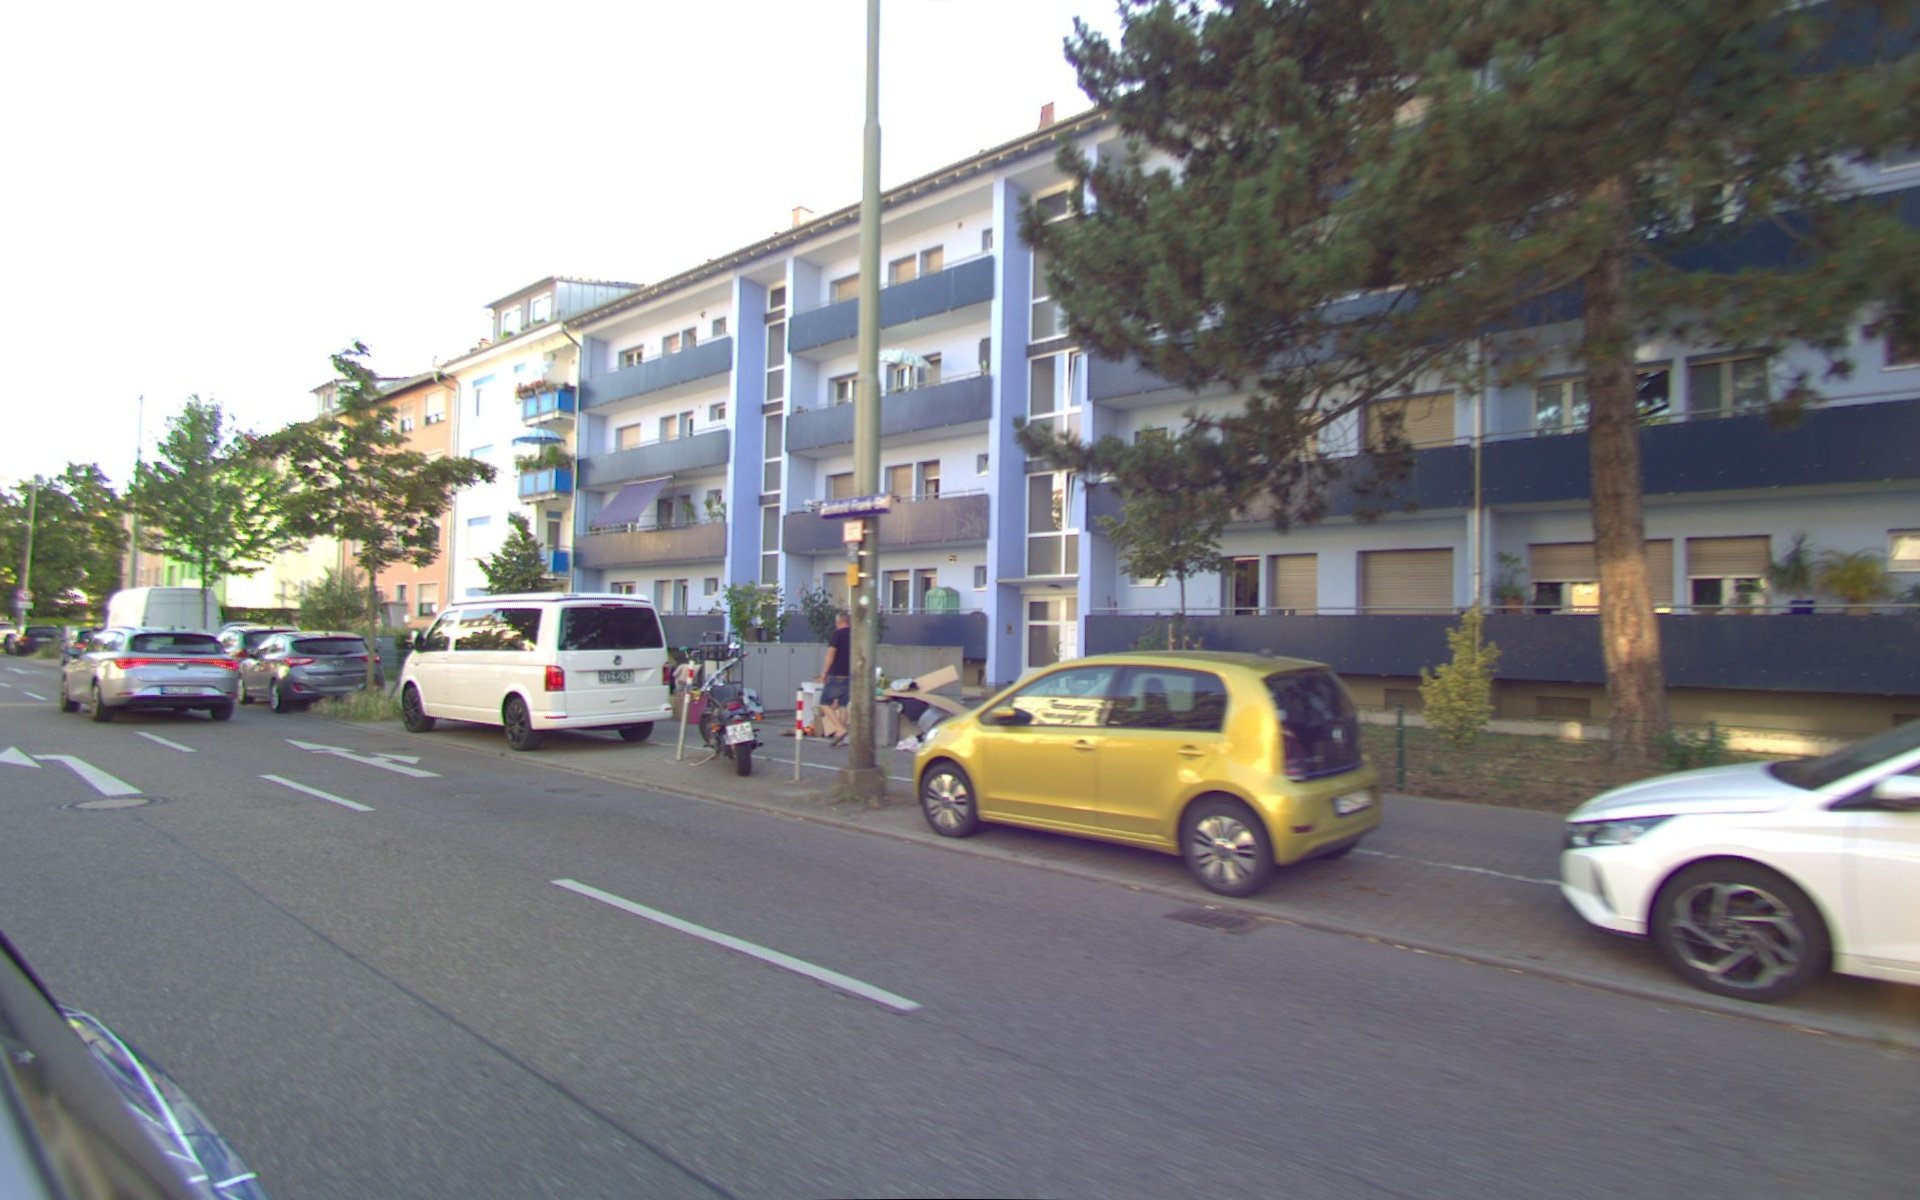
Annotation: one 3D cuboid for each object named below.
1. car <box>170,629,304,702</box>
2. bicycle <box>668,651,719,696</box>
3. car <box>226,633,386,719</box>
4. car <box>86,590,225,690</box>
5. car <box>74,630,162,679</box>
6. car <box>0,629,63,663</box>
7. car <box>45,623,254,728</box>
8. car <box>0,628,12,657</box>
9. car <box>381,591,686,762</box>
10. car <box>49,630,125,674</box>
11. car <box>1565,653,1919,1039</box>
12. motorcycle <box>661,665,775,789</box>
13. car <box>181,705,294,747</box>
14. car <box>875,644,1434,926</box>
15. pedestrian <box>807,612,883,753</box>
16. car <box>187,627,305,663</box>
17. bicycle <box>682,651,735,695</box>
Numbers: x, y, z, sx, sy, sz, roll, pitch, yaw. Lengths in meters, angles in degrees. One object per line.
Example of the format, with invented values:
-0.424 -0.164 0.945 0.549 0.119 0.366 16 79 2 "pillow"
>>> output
-17.049 1.488 23.773 4.473 1.555 1.654 -1 -4 43 "car"
-6.411 1.757 24.305 1.477 1.022 0.433 -1 -4 43 "bicycle"
-12.952 1.422 19.946 4.144 1.495 1.674 -1 -3 44 "car"
-23.895 1.139 29.923 7.102 2.636 1.972 -1 -2 41 "car"
-28.478 1.782 34.192 4.057 1.503 1.689 -1 -1 41 "car"
-43.165 2.111 46.892 4.586 1.516 1.760 -1 -3 41 "car"
-13.207 1.186 16.408 4.306 1.490 1.722 -1 -6 40 "car"
-55.803 2.426 58.383 2.862 1.629 1.482 -1 -3 44 "car"
-6.279 0.983 14.543 5.297 2.047 1.849 -1 -3 41 "car"
-32.232 1.883 37.350 3.810 1.484 1.595 -1 -1 41 "car"
5.030 1.031 4.262 3.971 1.506 1.761 -1 -2 43 "car"
-2.768 1.361 11.381 0.649 1.213 2.339 3 -4 -28 "motorcycle"
-32.999 5.718 46.287 1.628 1.540 3.945 -1 -2 41 "car"
1.242 1.116 7.576 3.872 1.491 1.601 -1 -2 44 "car"
-1.505 1.059 13.255 0.695 1.784 0.655 -1 -3 41 "pedestrian"
-31.592 1.957 44.853 1.915 1.423 3.945 -1 -1 41 "car"
-6.130 1.774 24.663 1.574 1.022 0.433 -1 -4 43 "bicycle"
